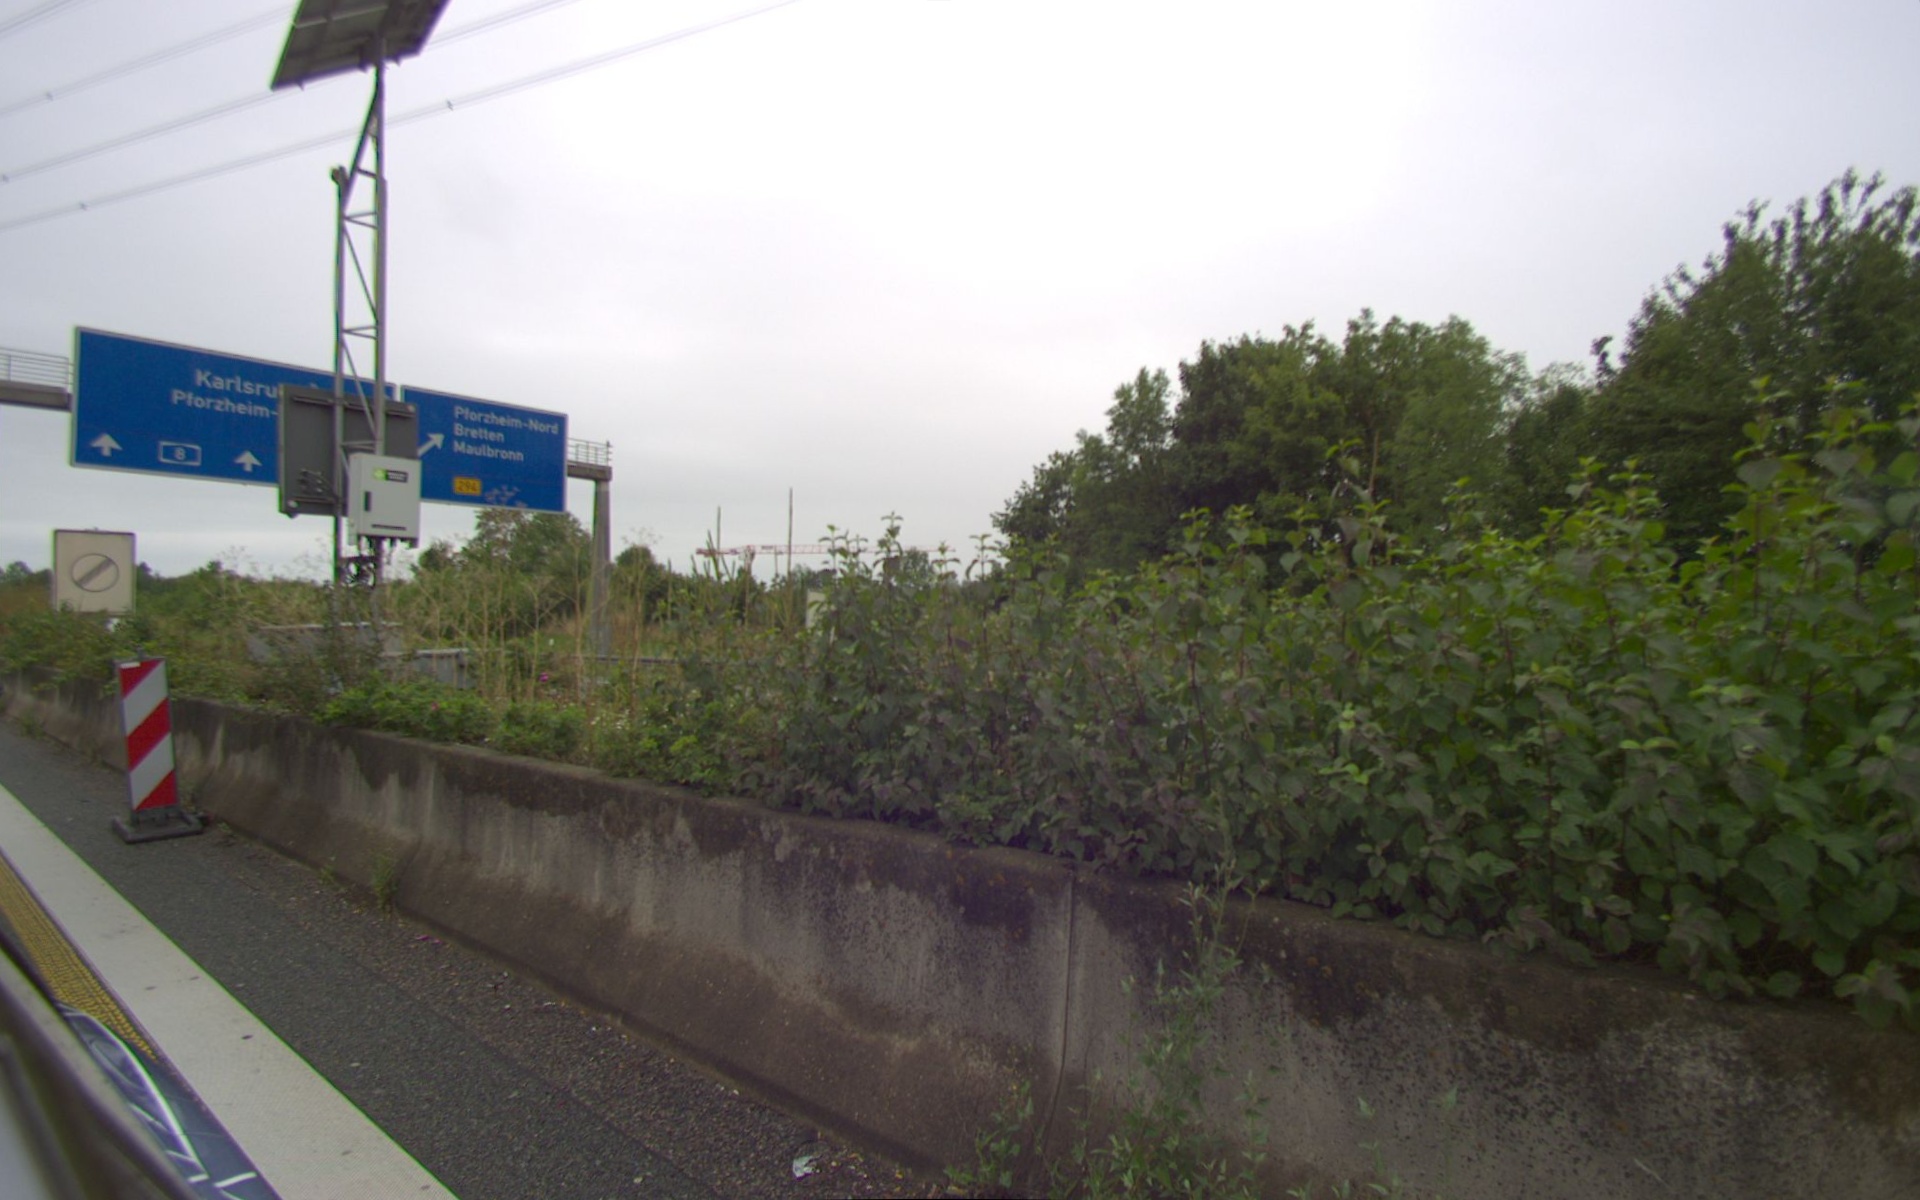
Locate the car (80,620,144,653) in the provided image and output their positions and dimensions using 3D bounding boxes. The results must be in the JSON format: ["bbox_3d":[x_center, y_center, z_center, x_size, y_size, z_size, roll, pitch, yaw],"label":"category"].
[{"bbox_3d":[-47.171,1.995,56.246,5.057,1.740,1.973,-1,-1,41],"label":"car"}]
